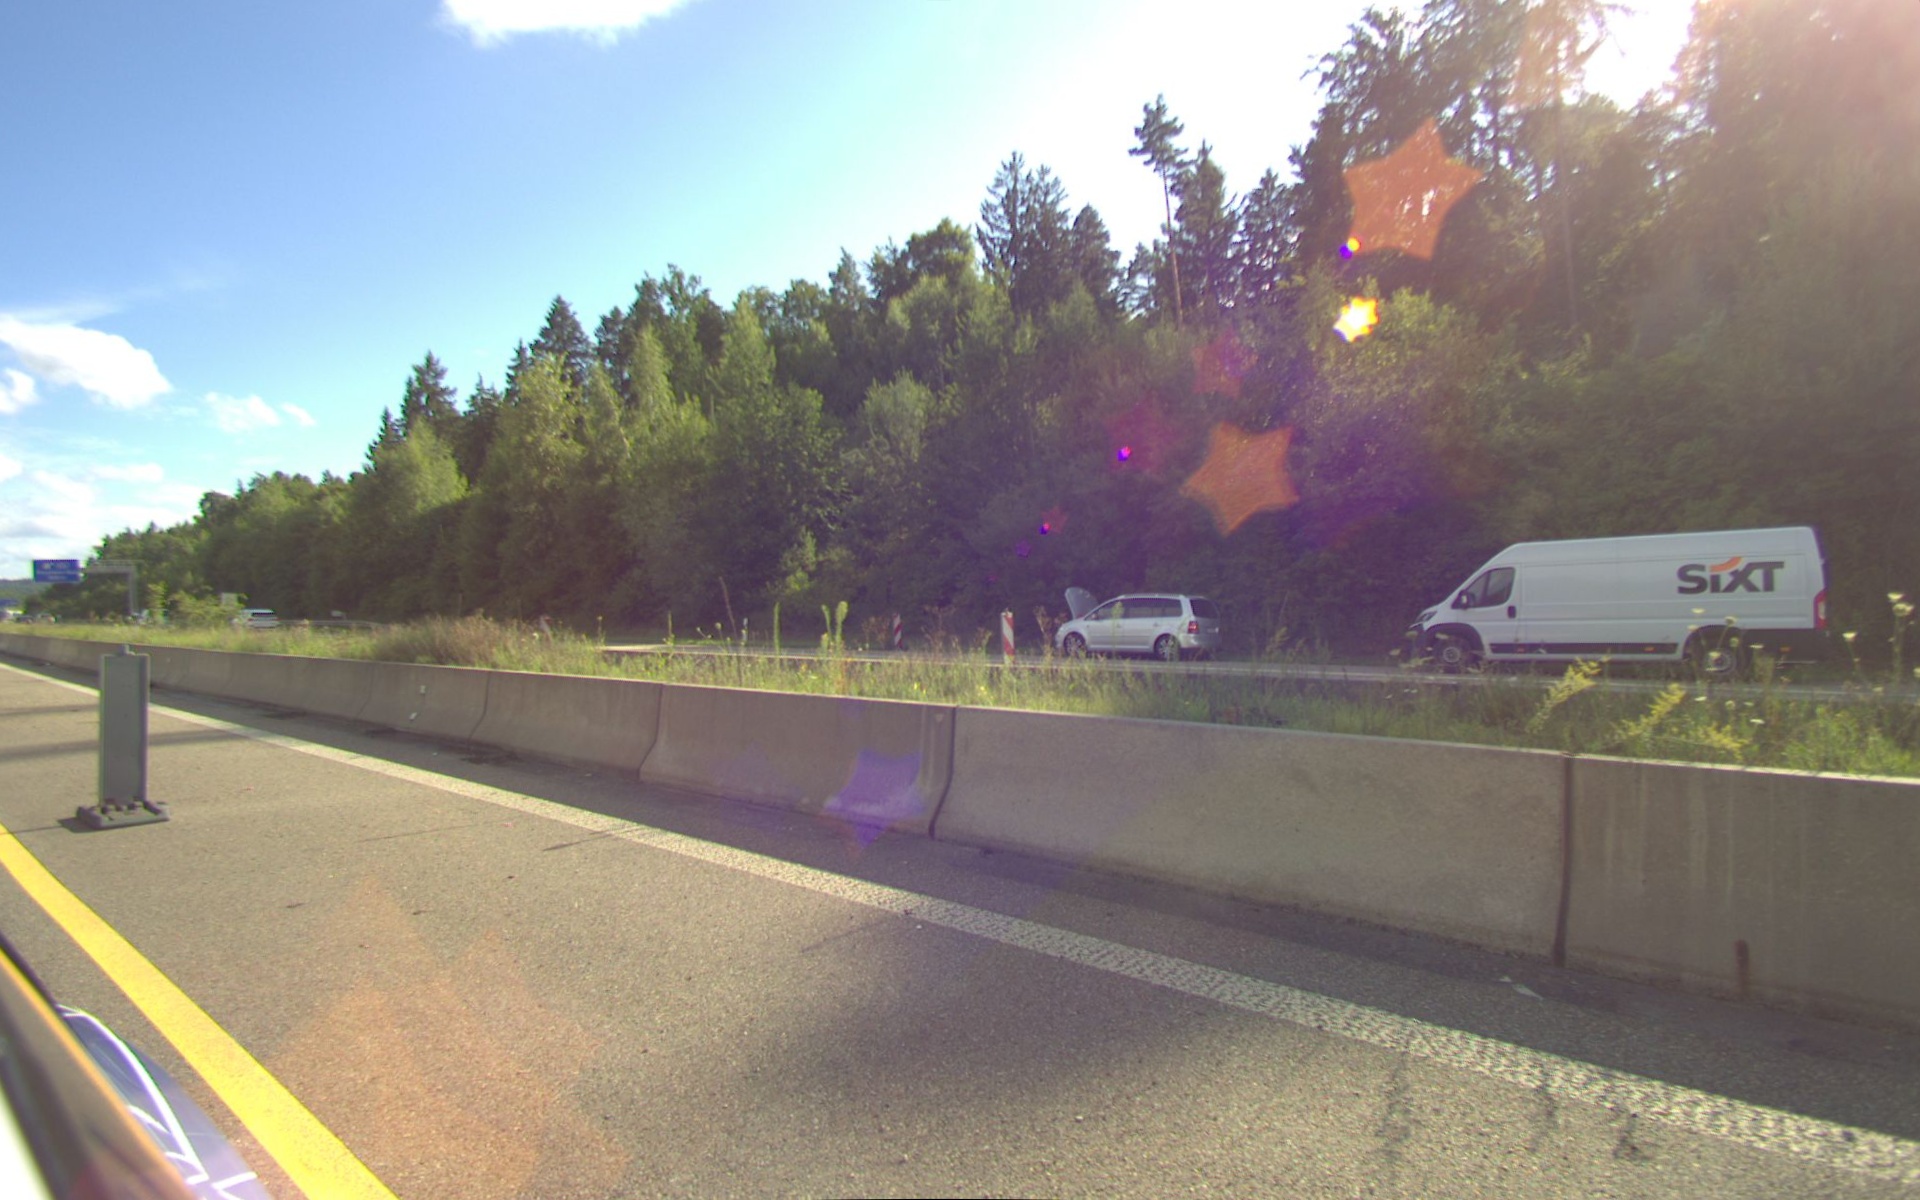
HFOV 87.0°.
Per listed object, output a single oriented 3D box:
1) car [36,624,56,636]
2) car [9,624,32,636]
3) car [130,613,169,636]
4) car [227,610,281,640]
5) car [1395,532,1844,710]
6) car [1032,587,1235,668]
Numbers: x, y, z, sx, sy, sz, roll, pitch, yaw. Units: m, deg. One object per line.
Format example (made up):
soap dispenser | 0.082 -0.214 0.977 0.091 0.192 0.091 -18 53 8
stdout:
car | -136.235 4.435 150.807 4.615 1.701 1.759 -1 0 41
car | -119.754 3.823 129.009 4.103 1.467 1.759 -1 0 41
car | -67.334 2.032 84.054 4.363 1.799 1.759 -1 0 41
car | -43.574 1.508 62.460 4.363 1.799 1.759 -1 0 41
car | 11.546 0.341 18.221 6.520 2.705 2.007 -1 0 41
car | 4.268 0.642 25.411 4.760 1.867 1.841 -1 0 41
